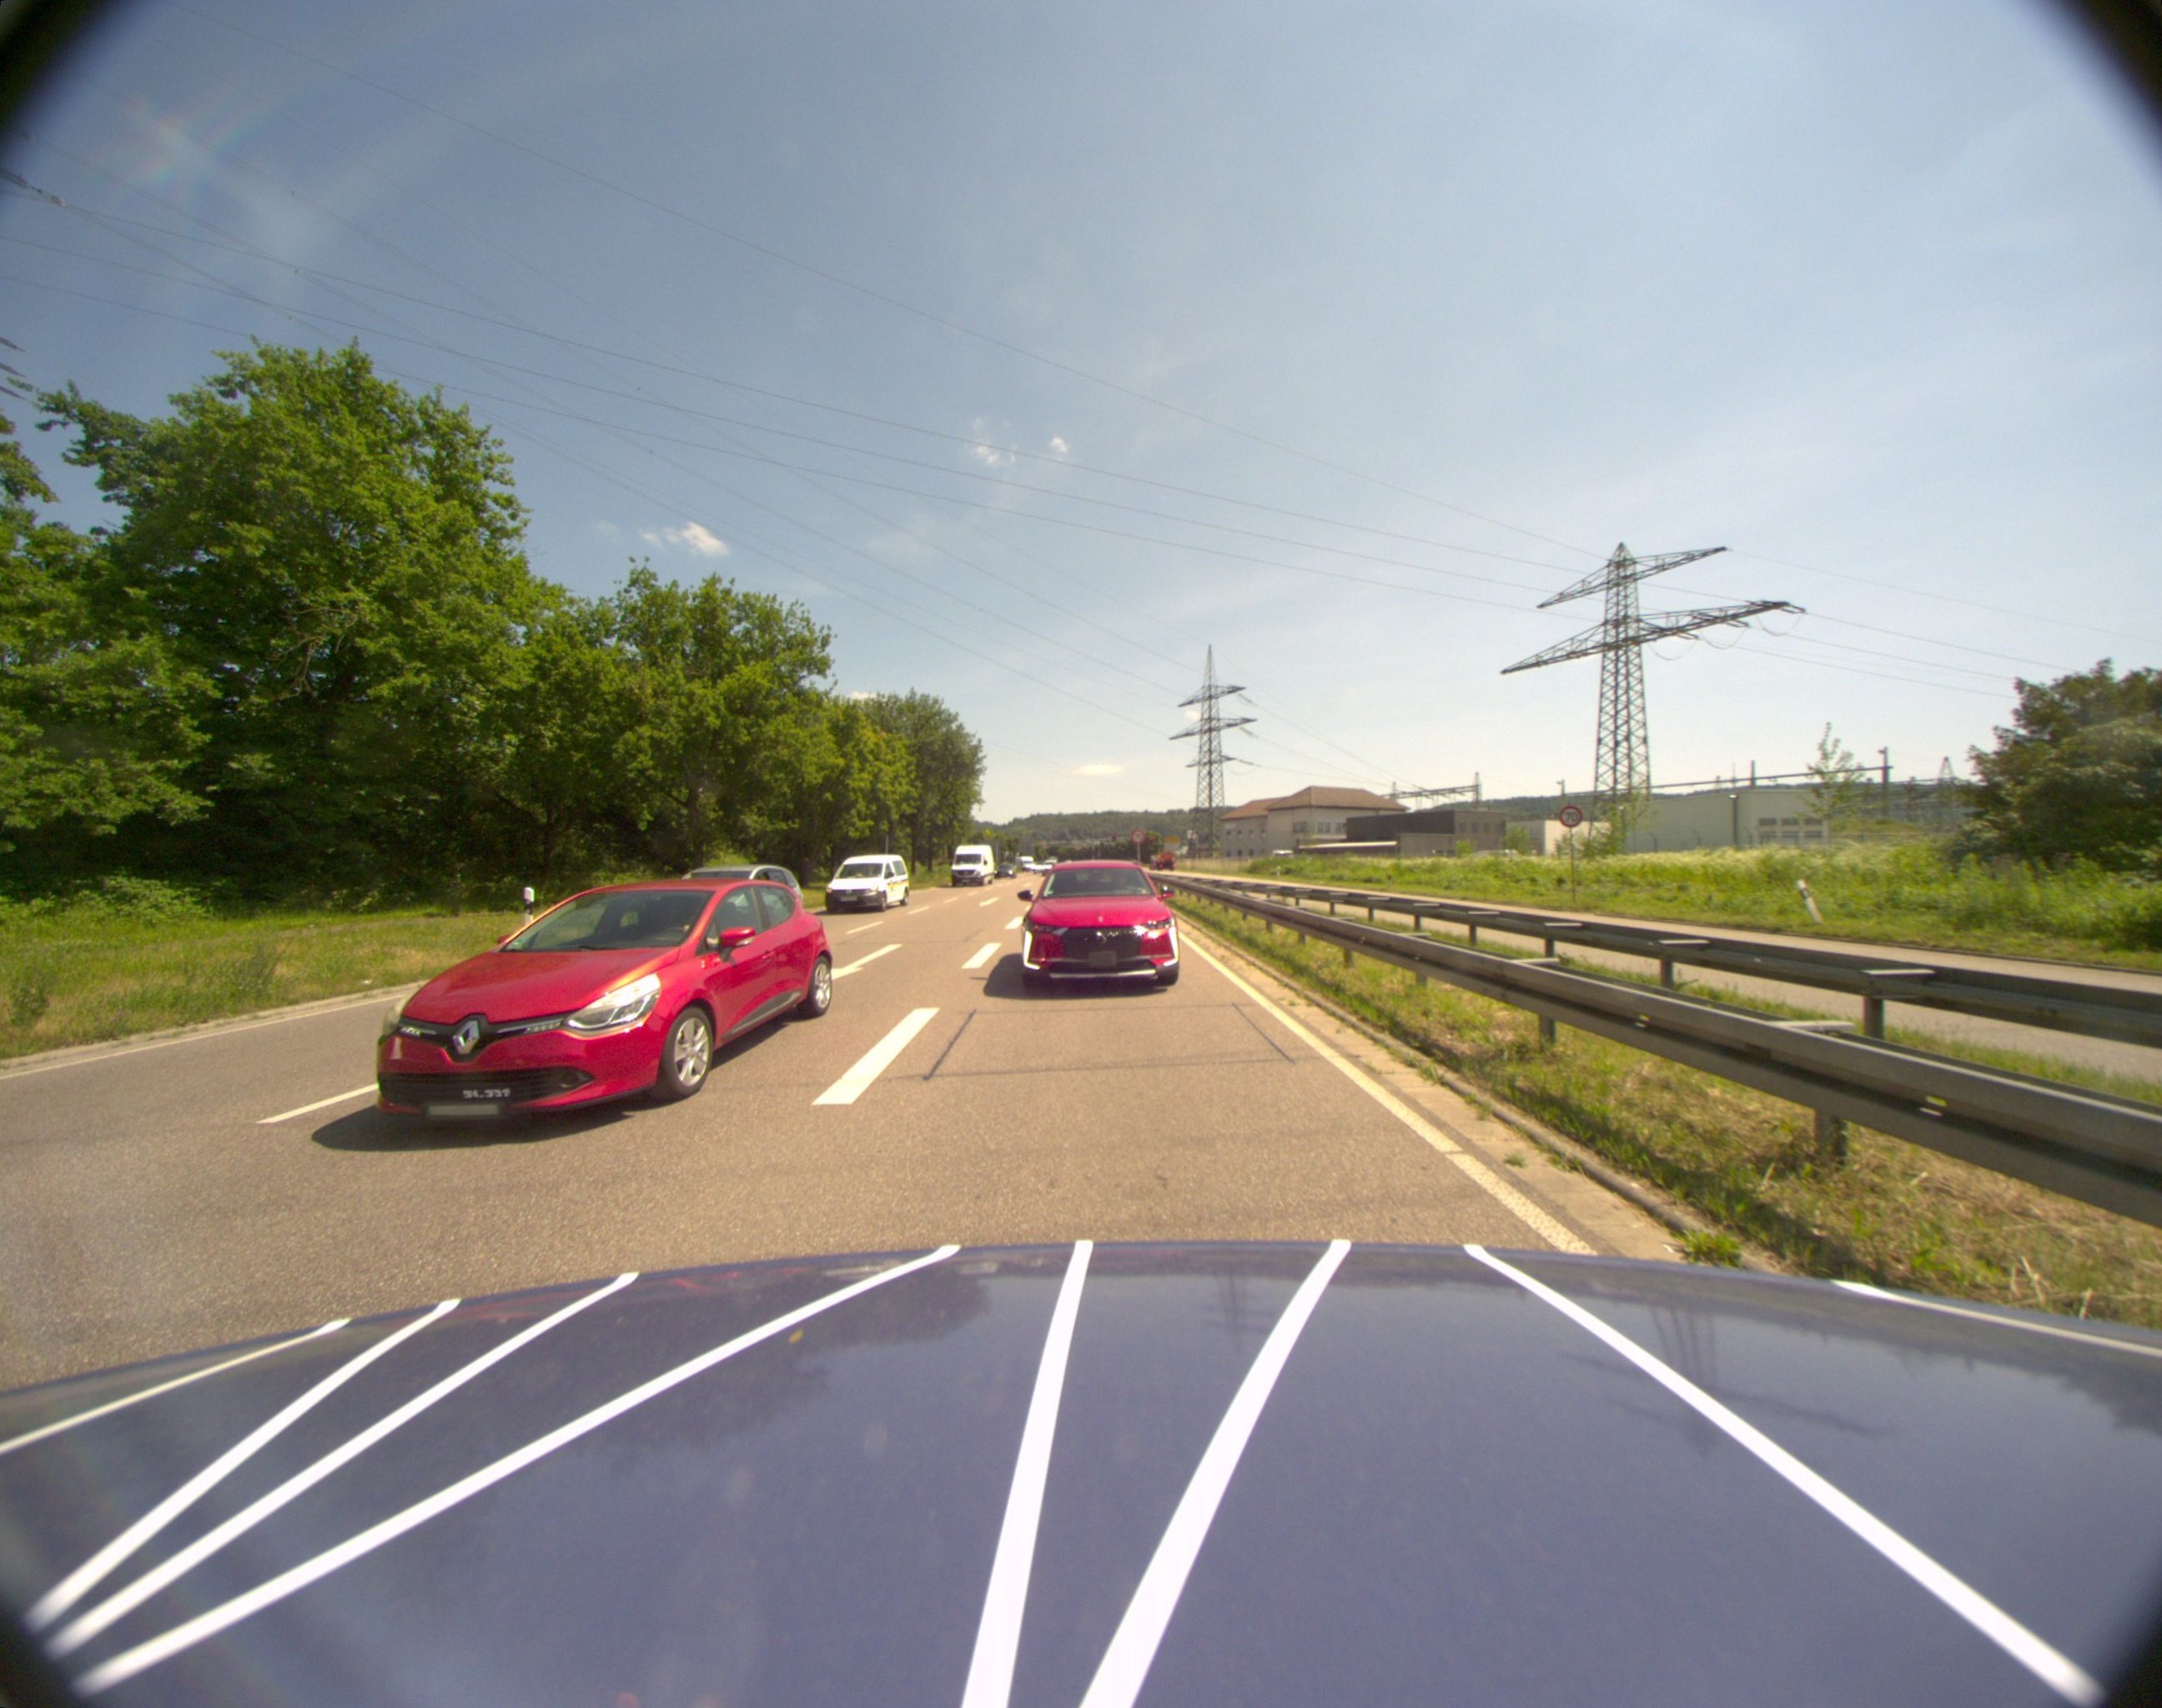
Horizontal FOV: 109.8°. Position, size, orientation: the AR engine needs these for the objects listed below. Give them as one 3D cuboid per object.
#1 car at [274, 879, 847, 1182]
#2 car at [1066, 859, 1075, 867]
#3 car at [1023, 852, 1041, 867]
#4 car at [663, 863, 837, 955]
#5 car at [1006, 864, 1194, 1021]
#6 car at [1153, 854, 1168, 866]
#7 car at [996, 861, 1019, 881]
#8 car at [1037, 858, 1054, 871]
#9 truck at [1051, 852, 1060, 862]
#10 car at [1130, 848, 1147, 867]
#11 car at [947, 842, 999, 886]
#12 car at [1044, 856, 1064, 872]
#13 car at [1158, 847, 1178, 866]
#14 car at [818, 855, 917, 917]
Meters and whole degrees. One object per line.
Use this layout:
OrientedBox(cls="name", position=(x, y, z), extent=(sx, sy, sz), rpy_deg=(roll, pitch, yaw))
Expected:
OrientedBox(cls="car", position=(-3.449, 1.026, 6.149), extent=(1.747, 1.453, 4.065), rpy_deg=(-2, 0, 1))
OrientedBox(cls="car", position=(-2.453, 2.143, 177.675), extent=(1.878, 1.674, 3.999), rpy_deg=(-2, 1, -2))
OrientedBox(cls="car", position=(-7.828, 0.860, 122.838), extent=(2.308, 2.408, 5.814), rpy_deg=(-2, 0, 1))
OrientedBox(cls="car", position=(-6.836, 1.047, 16.240), extent=(1.747, 1.585, 4.272), rpy_deg=(-2, 0, 1))
OrientedBox(cls="car", position=(0.220, 0.922, 9.842), extent=(1.846, 1.453, 4.414), rpy_deg=(-2, 0, 1))
OrientedBox(cls="car", position=(14.105, 1.058, 135.424), extent=(1.999, 1.904, 3.998), rpy_deg=(-2, 1, -3))
OrientedBox(cls="car", position=(-6.903, 1.598, 71.825), extent=(1.878, 1.674, 3.999), rpy_deg=(-2, 1, -2))
OrientedBox(cls="car", position=(-4.595, 1.394, 98.778), extent=(1.850, 1.559, 4.148), rpy_deg=(-2, 0, 1))
OrientedBox(cls="truck", position=(-6.365, 0.807, 192.382), extent=(2.170, 2.428, 4.909), rpy_deg=(-2, 1, -2))
OrientedBox(cls="car", position=(9.810, 0.601, 129.956), extent=(2.607, 3.043, 5.638), rpy_deg=(0, 0, 0))
OrientedBox(cls="car", position=(-6.880, 0.598, 49.092), extent=(2.232, 2.592, 7.018), rpy_deg=(-2, 0, 0))
OrientedBox(cls="car", position=(-2.850, 0.996, 80.117), extent=(1.850, 1.559, 4.363), rpy_deg=(-2, 0, 1))
OrientedBox(cls="car", position=(14.361, 0.439, 125.230), extent=(2.607, 3.043, 5.638), rpy_deg=(0, 0, 0))
OrientedBox(cls="car", position=(-6.935, 0.968, 25.248), extent=(1.809, 1.790, 5.037), rpy_deg=(-2, 0, 0))
